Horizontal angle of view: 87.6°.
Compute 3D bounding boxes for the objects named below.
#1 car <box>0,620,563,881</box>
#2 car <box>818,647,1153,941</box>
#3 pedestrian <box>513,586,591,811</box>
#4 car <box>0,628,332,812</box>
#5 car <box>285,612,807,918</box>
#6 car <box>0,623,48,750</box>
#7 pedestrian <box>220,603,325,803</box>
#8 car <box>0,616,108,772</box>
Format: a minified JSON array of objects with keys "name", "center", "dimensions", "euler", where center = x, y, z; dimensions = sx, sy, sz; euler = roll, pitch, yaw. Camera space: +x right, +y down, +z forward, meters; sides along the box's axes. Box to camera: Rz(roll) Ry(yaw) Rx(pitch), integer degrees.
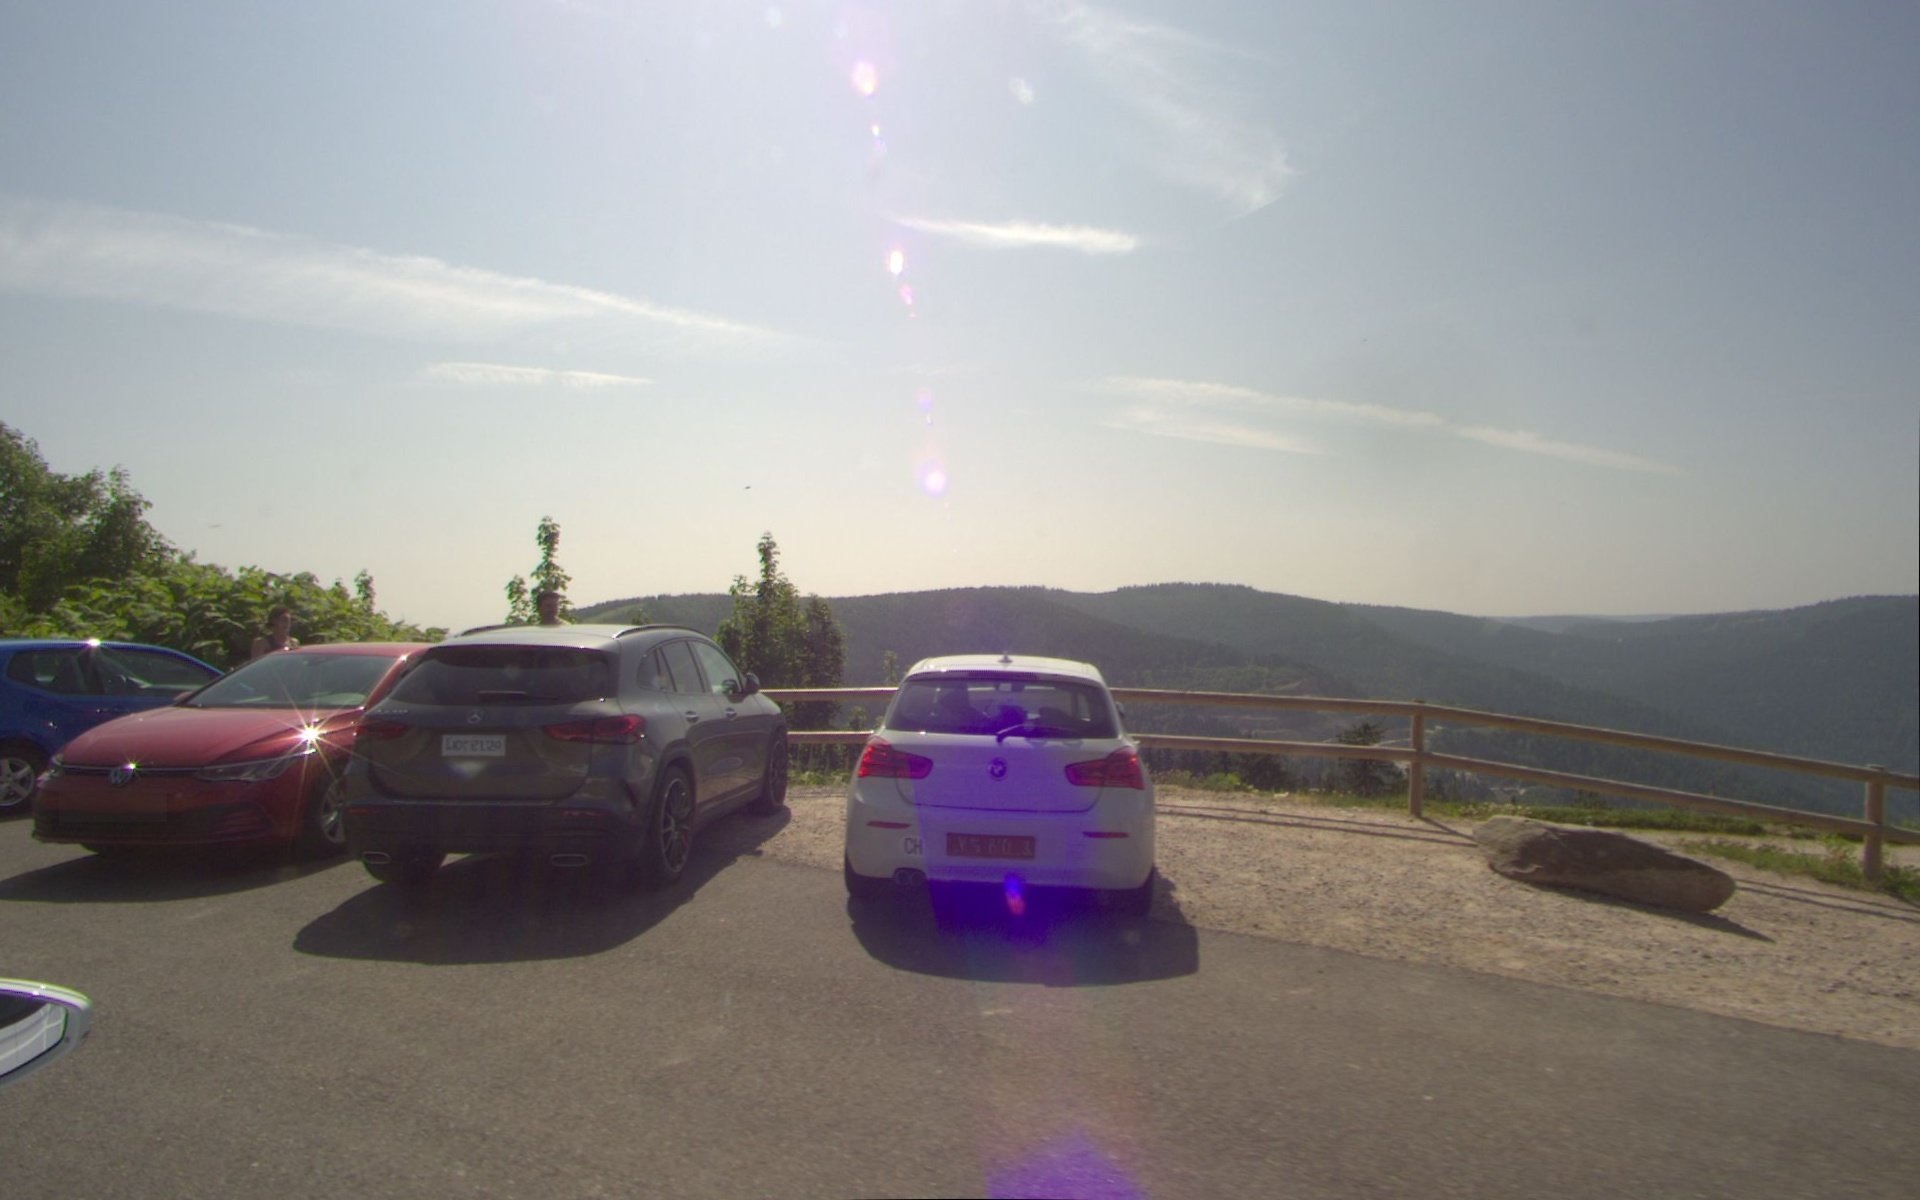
[{"name":"car","center":[-4.997,0.990,7.992],"dimensions":[1.806,1.528,4.003],"euler":[0,-3,4]},{"name":"car","center":[0.262,1.043,6.870],"dimensions":[1.625,1.402,4.003],"euler":[0,-3,4]},{"name":"pedestrian","center":[-3.682,0.868,9.035],"dimensions":[0.600,1.923,0.677],"euler":[1,-3,-24]},{"name":"car","center":[-8.361,1.068,9.791],"dimensions":[1.617,1.514,3.592],"euler":[0,-3,15]},{"name":"car","center":[-2.542,0.979,7.514],"dimensions":[1.870,1.588,4.415],"euler":[0,-3,3]},{"name":"car","center":[-13.425,1.041,11.448],"dimensions":[1.674,1.609,4.161],"euler":[-1,-2,17]},{"name":"pedestrian","center":[-6.168,0.914,9.003],"dimensions":[0.556,1.746,0.505],"euler":[0,-3,1]},{"name":"car","center":[-11.091,0.952,9.741],"dimensions":[1.880,1.634,4.001],"euler":[0,-2,8]}]
